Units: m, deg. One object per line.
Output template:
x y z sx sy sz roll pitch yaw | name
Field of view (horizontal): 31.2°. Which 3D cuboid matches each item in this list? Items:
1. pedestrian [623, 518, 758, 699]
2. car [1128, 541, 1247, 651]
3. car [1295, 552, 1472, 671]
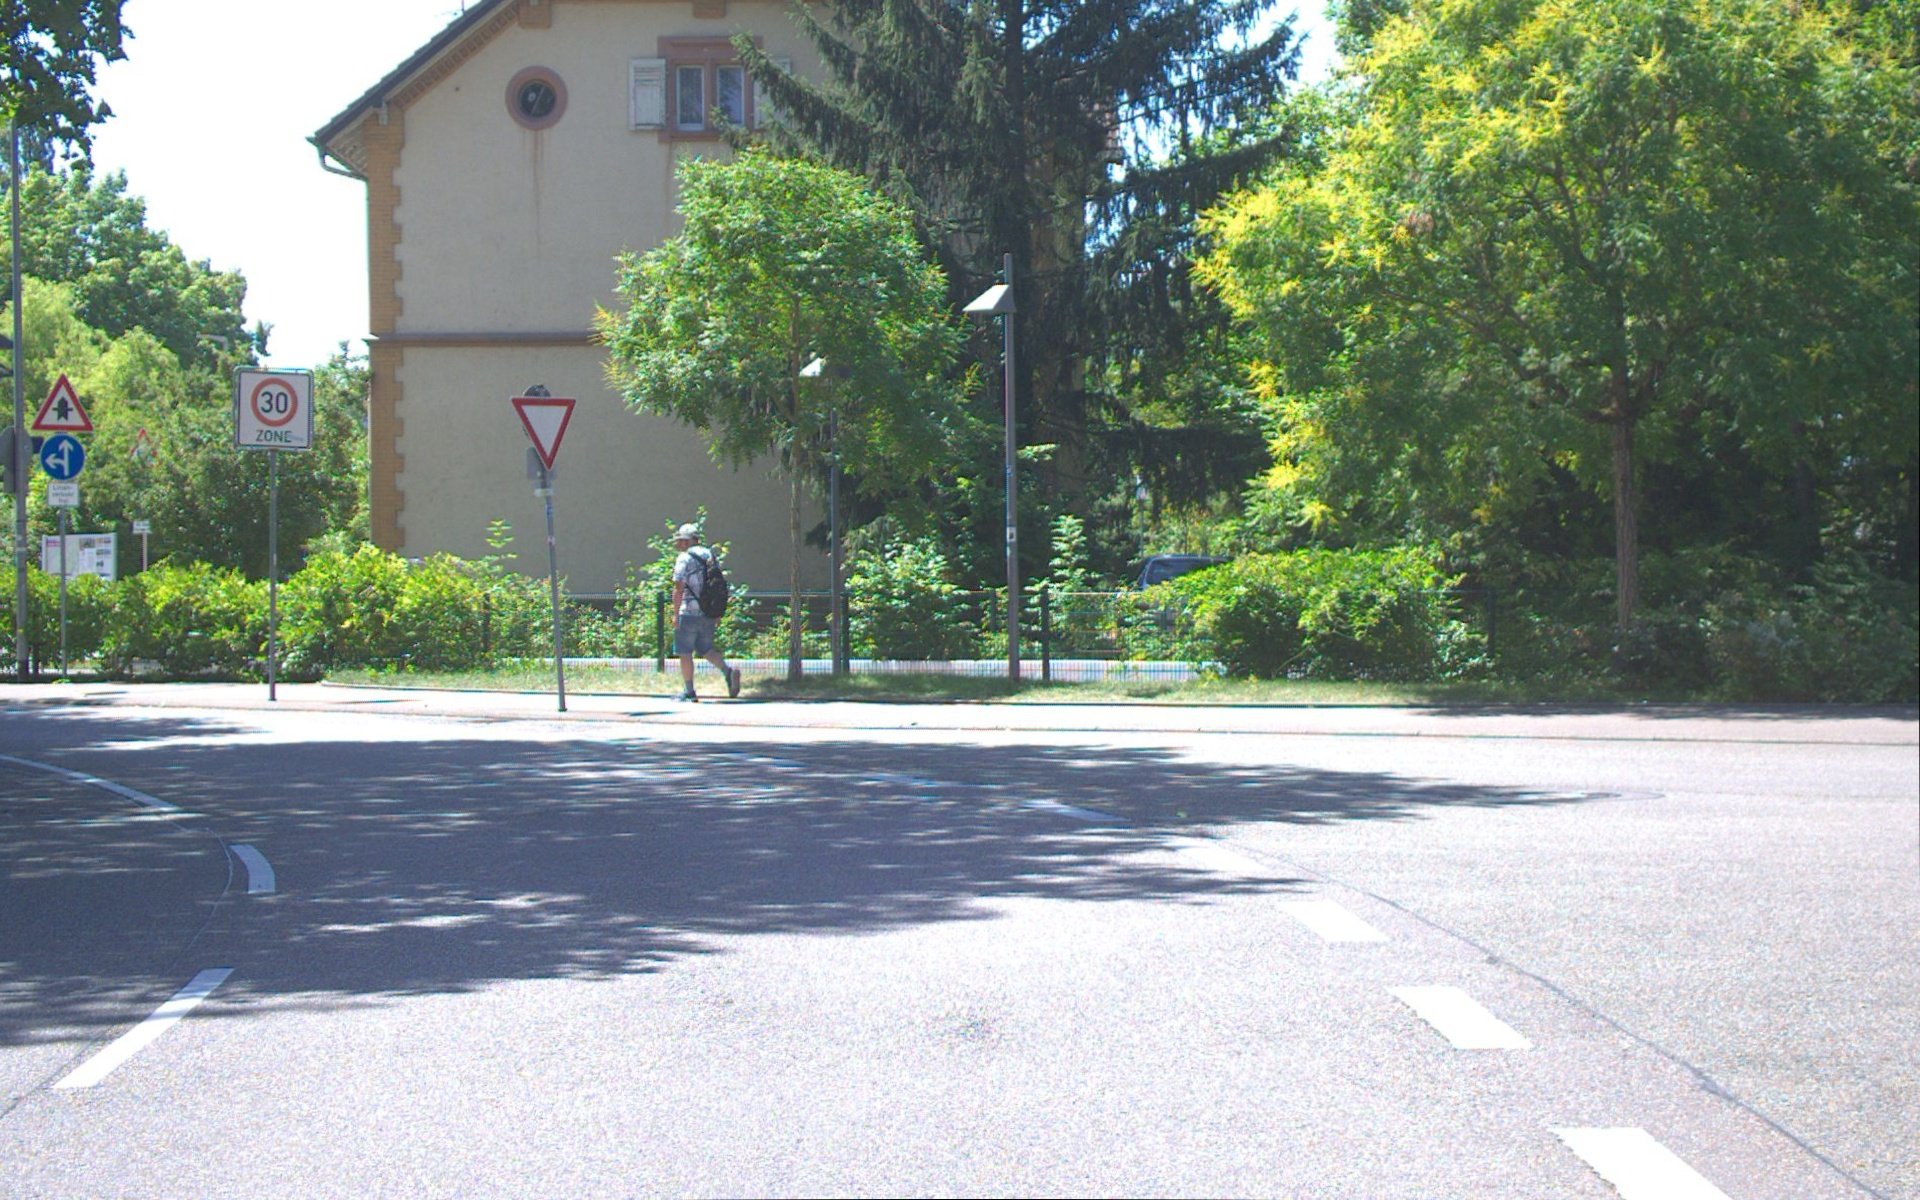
-2.754 0.078 35.112 0.912 1.765 0.915 -5 4 -40 | pedestrian
3.308 -0.078 50.233 1.650 1.531 3.969 0 1 3 | car
5.583 0.111 45.796 1.764 1.494 4.500 0 1 0 | car
